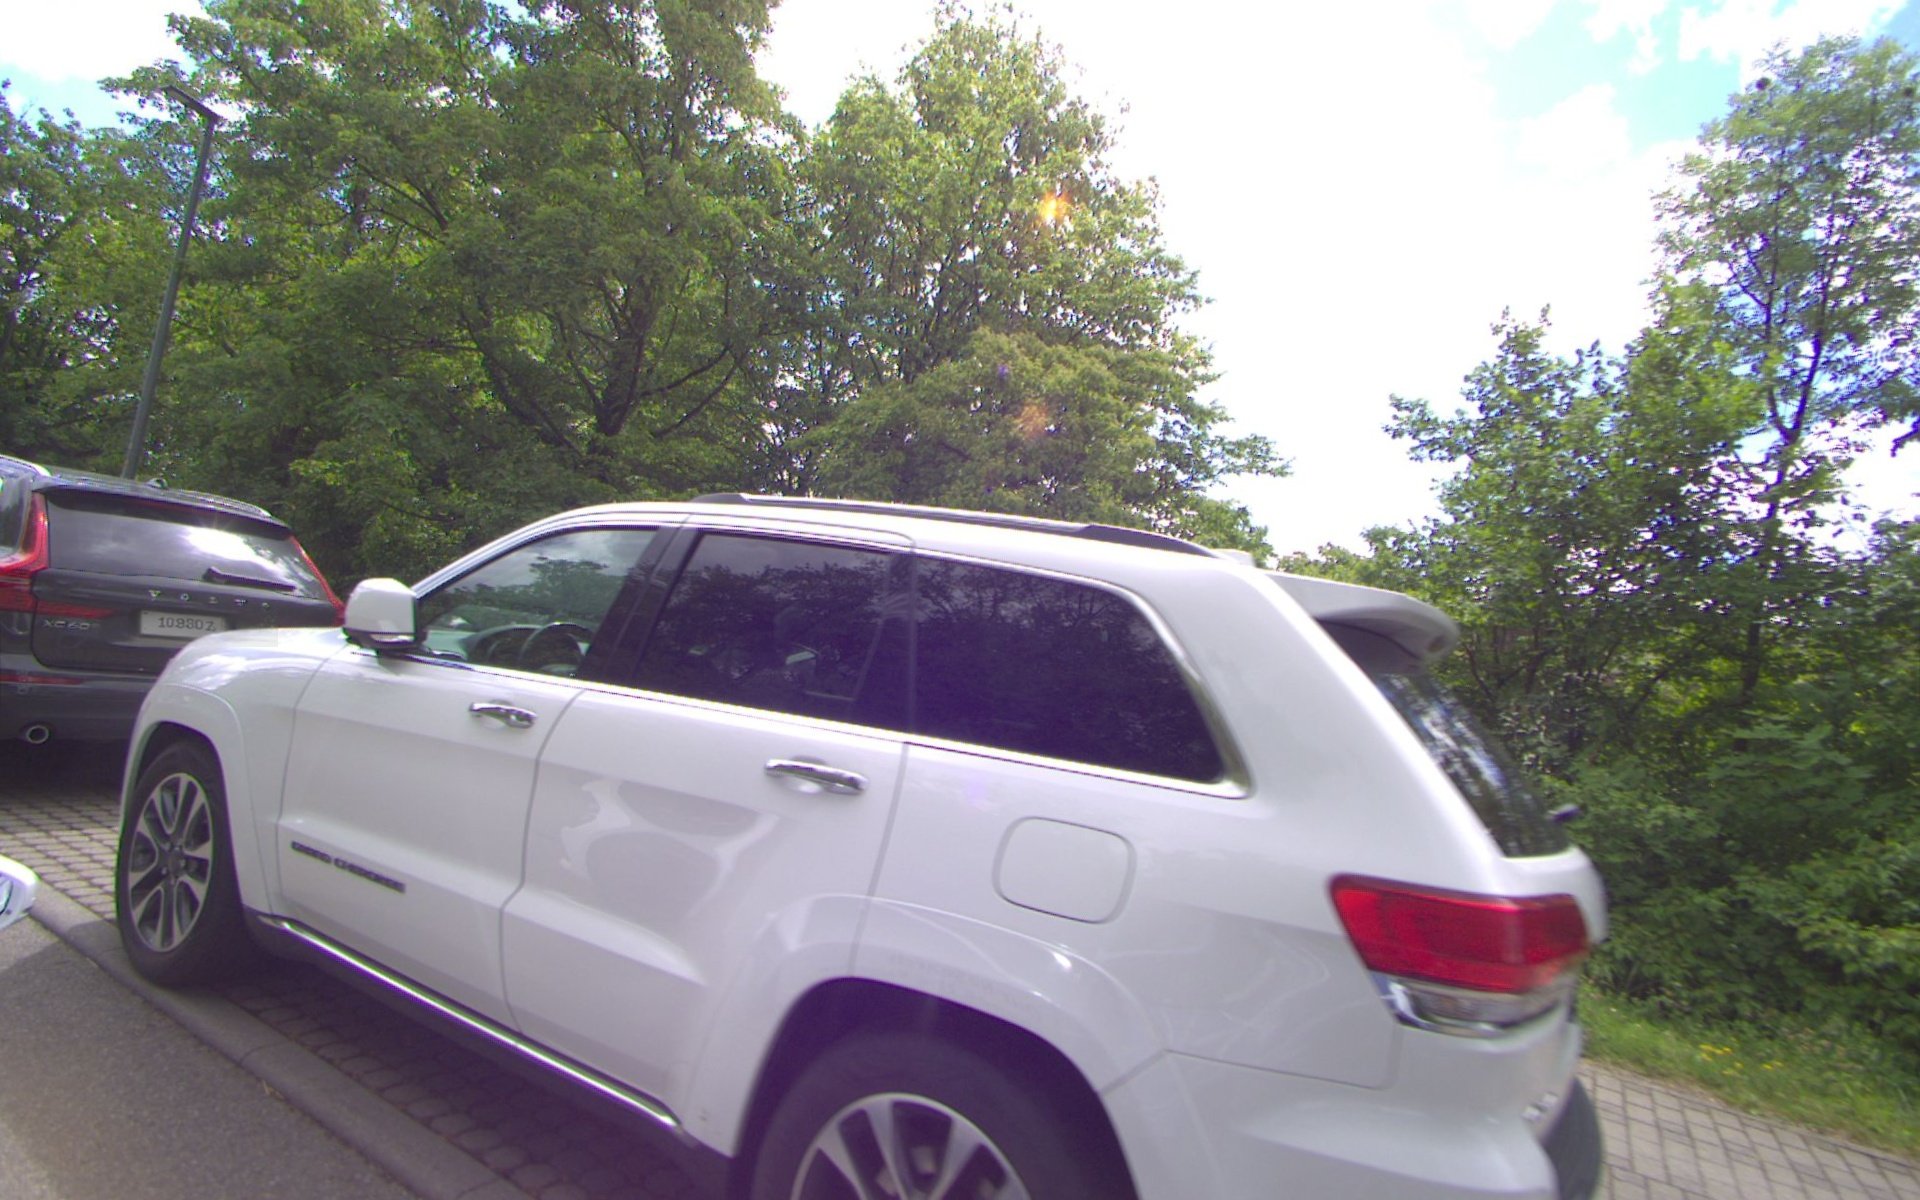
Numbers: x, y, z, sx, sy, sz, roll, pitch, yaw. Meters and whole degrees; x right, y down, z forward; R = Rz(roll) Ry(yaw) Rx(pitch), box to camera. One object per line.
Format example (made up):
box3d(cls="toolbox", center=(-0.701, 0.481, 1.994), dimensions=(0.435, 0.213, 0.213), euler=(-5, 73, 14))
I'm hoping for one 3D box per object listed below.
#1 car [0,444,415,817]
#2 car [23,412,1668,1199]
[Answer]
box3d(cls="car", center=(-5.663, -0.033, 6.171), dimensions=(4.204, 1.645, 1.998), euler=(8, -1, 29))
box3d(cls="car", center=(-0.725, 0.565, 3.160), dimensions=(4.502, 1.706, 1.878), euler=(7, -4, 31))
